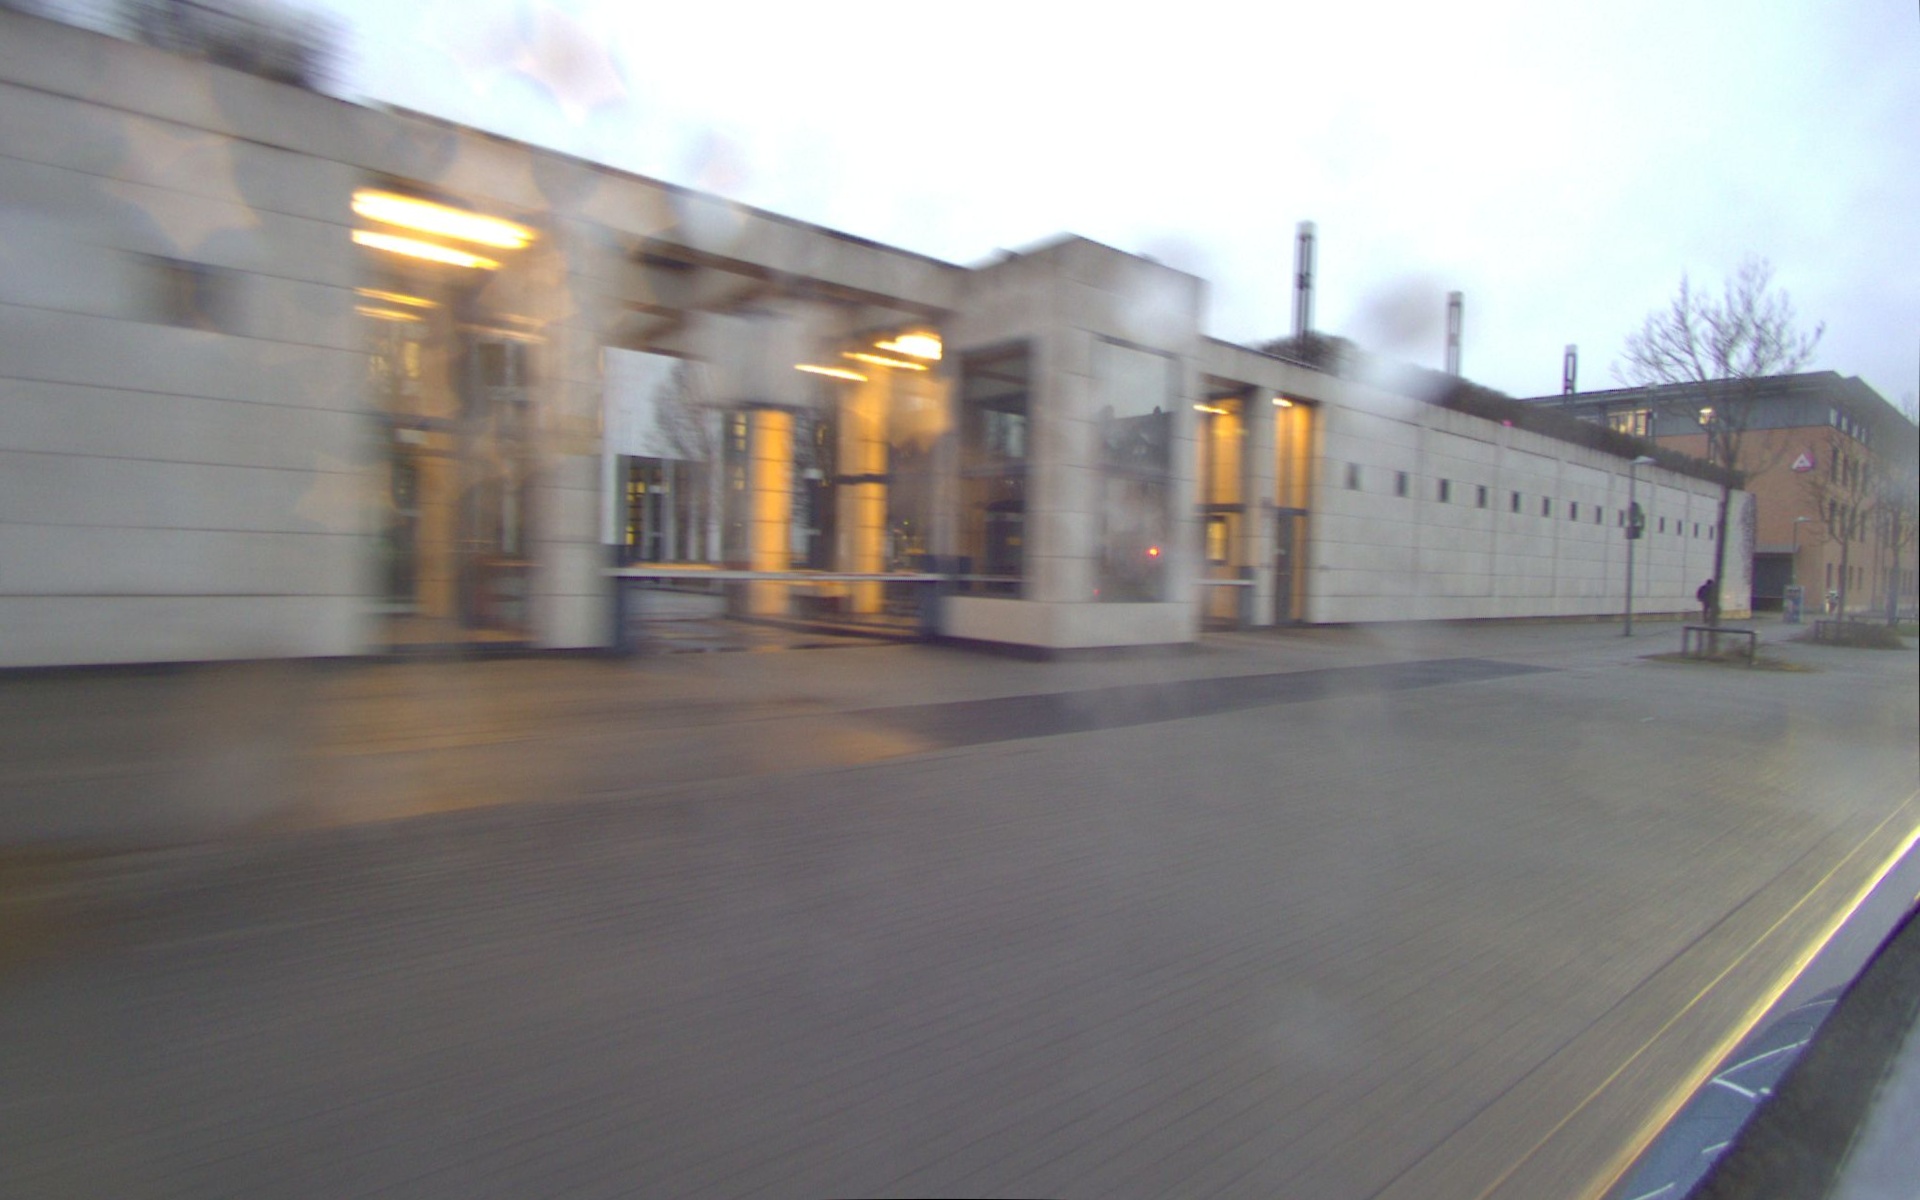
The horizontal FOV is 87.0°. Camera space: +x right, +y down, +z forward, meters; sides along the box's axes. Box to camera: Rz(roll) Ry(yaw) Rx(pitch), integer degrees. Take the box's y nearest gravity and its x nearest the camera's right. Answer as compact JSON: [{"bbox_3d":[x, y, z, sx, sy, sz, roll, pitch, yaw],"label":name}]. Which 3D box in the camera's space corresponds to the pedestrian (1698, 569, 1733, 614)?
[{"bbox_3d":[28.715,-0.330,38.452,0.868,1.650,0.814,0,4,-41],"label":"pedestrian"}]

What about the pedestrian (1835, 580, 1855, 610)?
[{"bbox_3d":[50.604,-0.288,57.840,0.756,1.668,0.674,0,4,-41],"label":"pedestrian"}]
